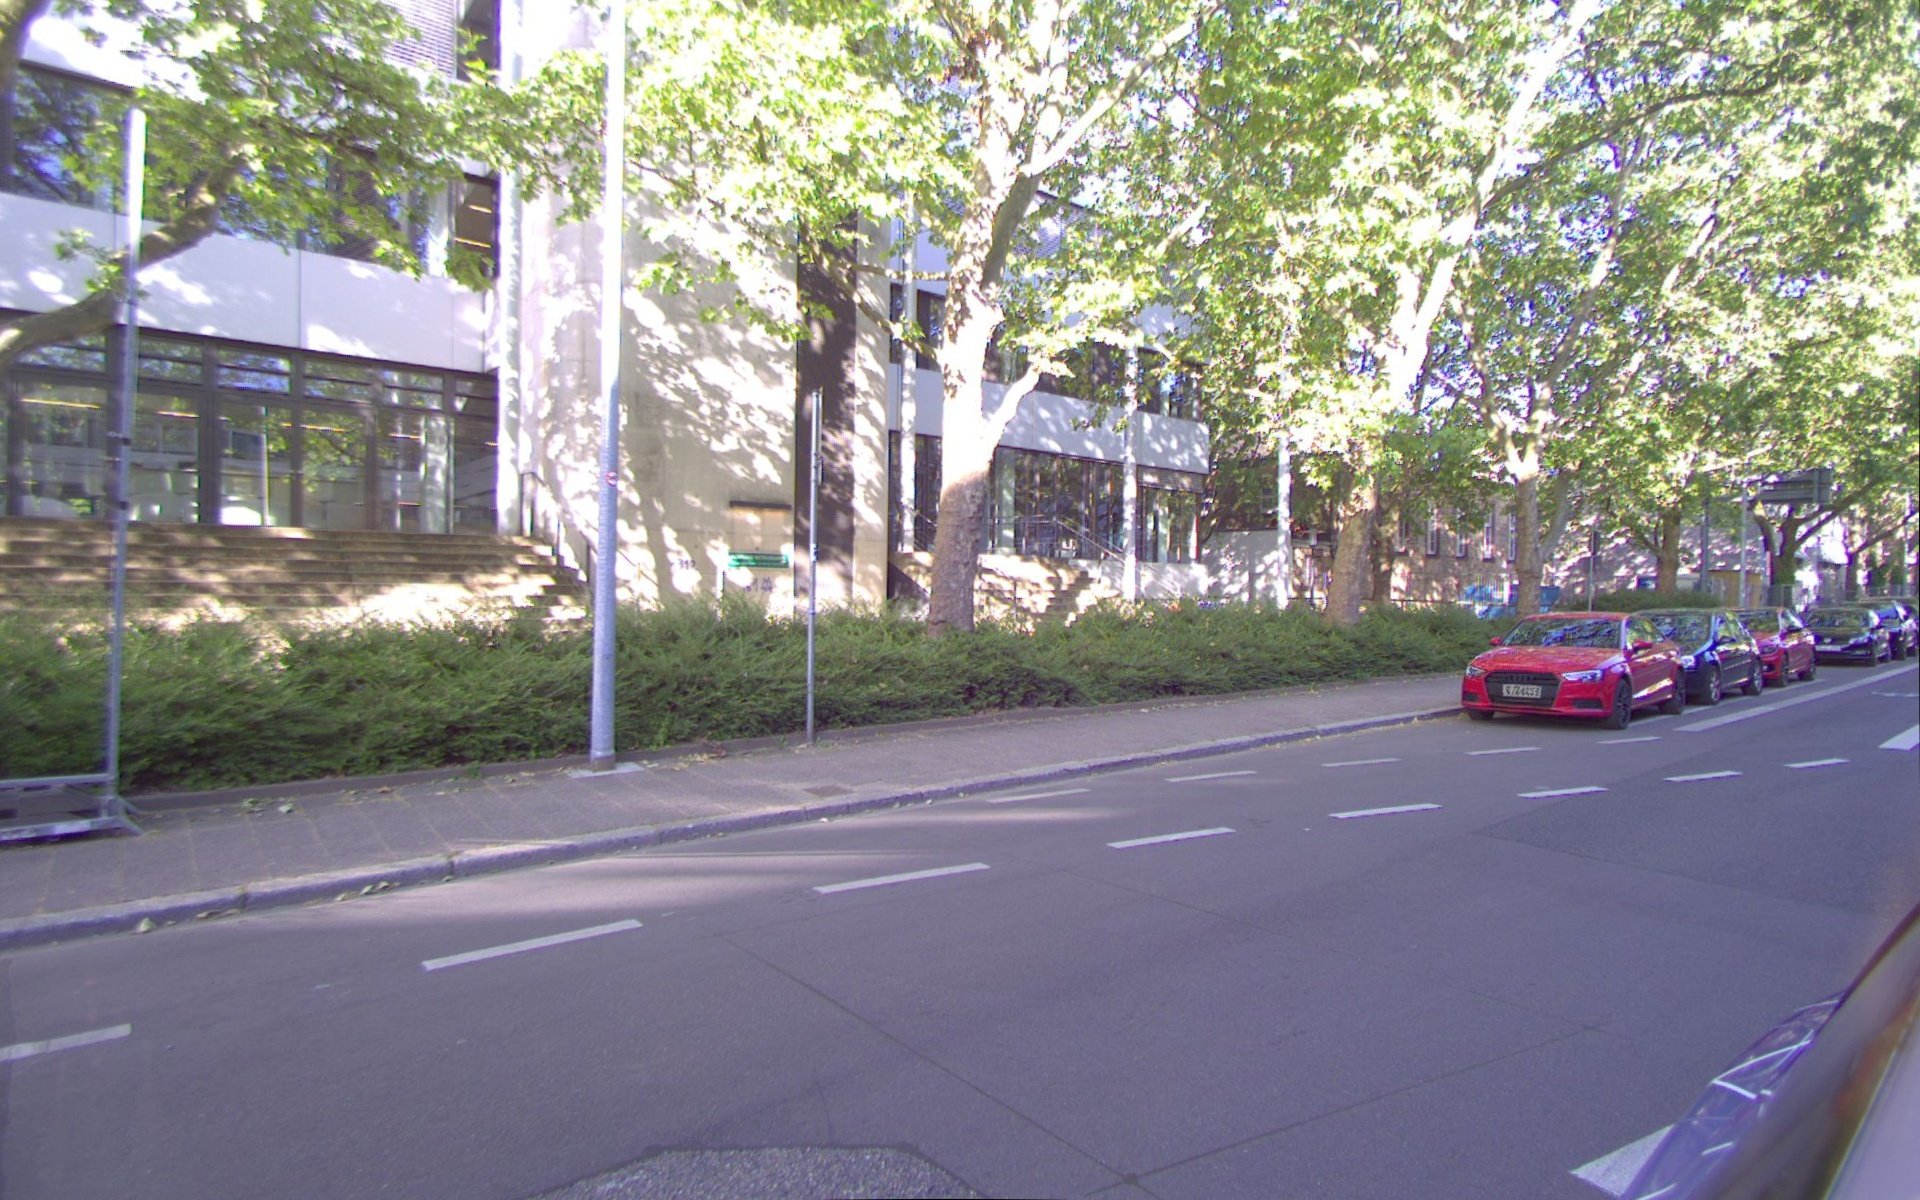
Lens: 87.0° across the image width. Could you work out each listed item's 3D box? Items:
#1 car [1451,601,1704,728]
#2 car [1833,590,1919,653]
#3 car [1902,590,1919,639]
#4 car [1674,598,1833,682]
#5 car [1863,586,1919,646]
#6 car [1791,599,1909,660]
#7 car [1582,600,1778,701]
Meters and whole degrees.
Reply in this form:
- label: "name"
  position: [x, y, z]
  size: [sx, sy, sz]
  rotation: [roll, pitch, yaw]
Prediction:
- label: "car"
  position: [8.282, 0.743, 13.446]
  size: [3.930, 1.427, 1.753]
  rotation: [0, -1, -41]
- label: "car"
  position: [26.721, 0.587, 29.179]
  size: [4.101, 1.674, 1.753]
  rotation: [0, -1, -41]
- label: "car"
  position: [36.201, 0.517, 37.266]
  size: [4.370, 1.750, 1.753]
  rotation: [0, -1, -41]
- label: "car"
  position: [15.709, 0.722, 19.968]
  size: [3.841, 1.486, 1.753]
  rotation: [0, -1, -41]
- label: "car"
  position: [30.978, 0.488, 32.970]
  size: [4.370, 1.844, 1.753]
  rotation: [0, -1, -41]
- label: "car"
  position: [22.954, 0.718, 26.066]
  size: [3.841, 1.451, 1.753]
  rotation: [0, -1, -41]
- label: "car"
  position: [11.858, 0.741, 16.591]
  size: [3.841, 1.451, 1.753]
  rotation: [0, -1, -41]
